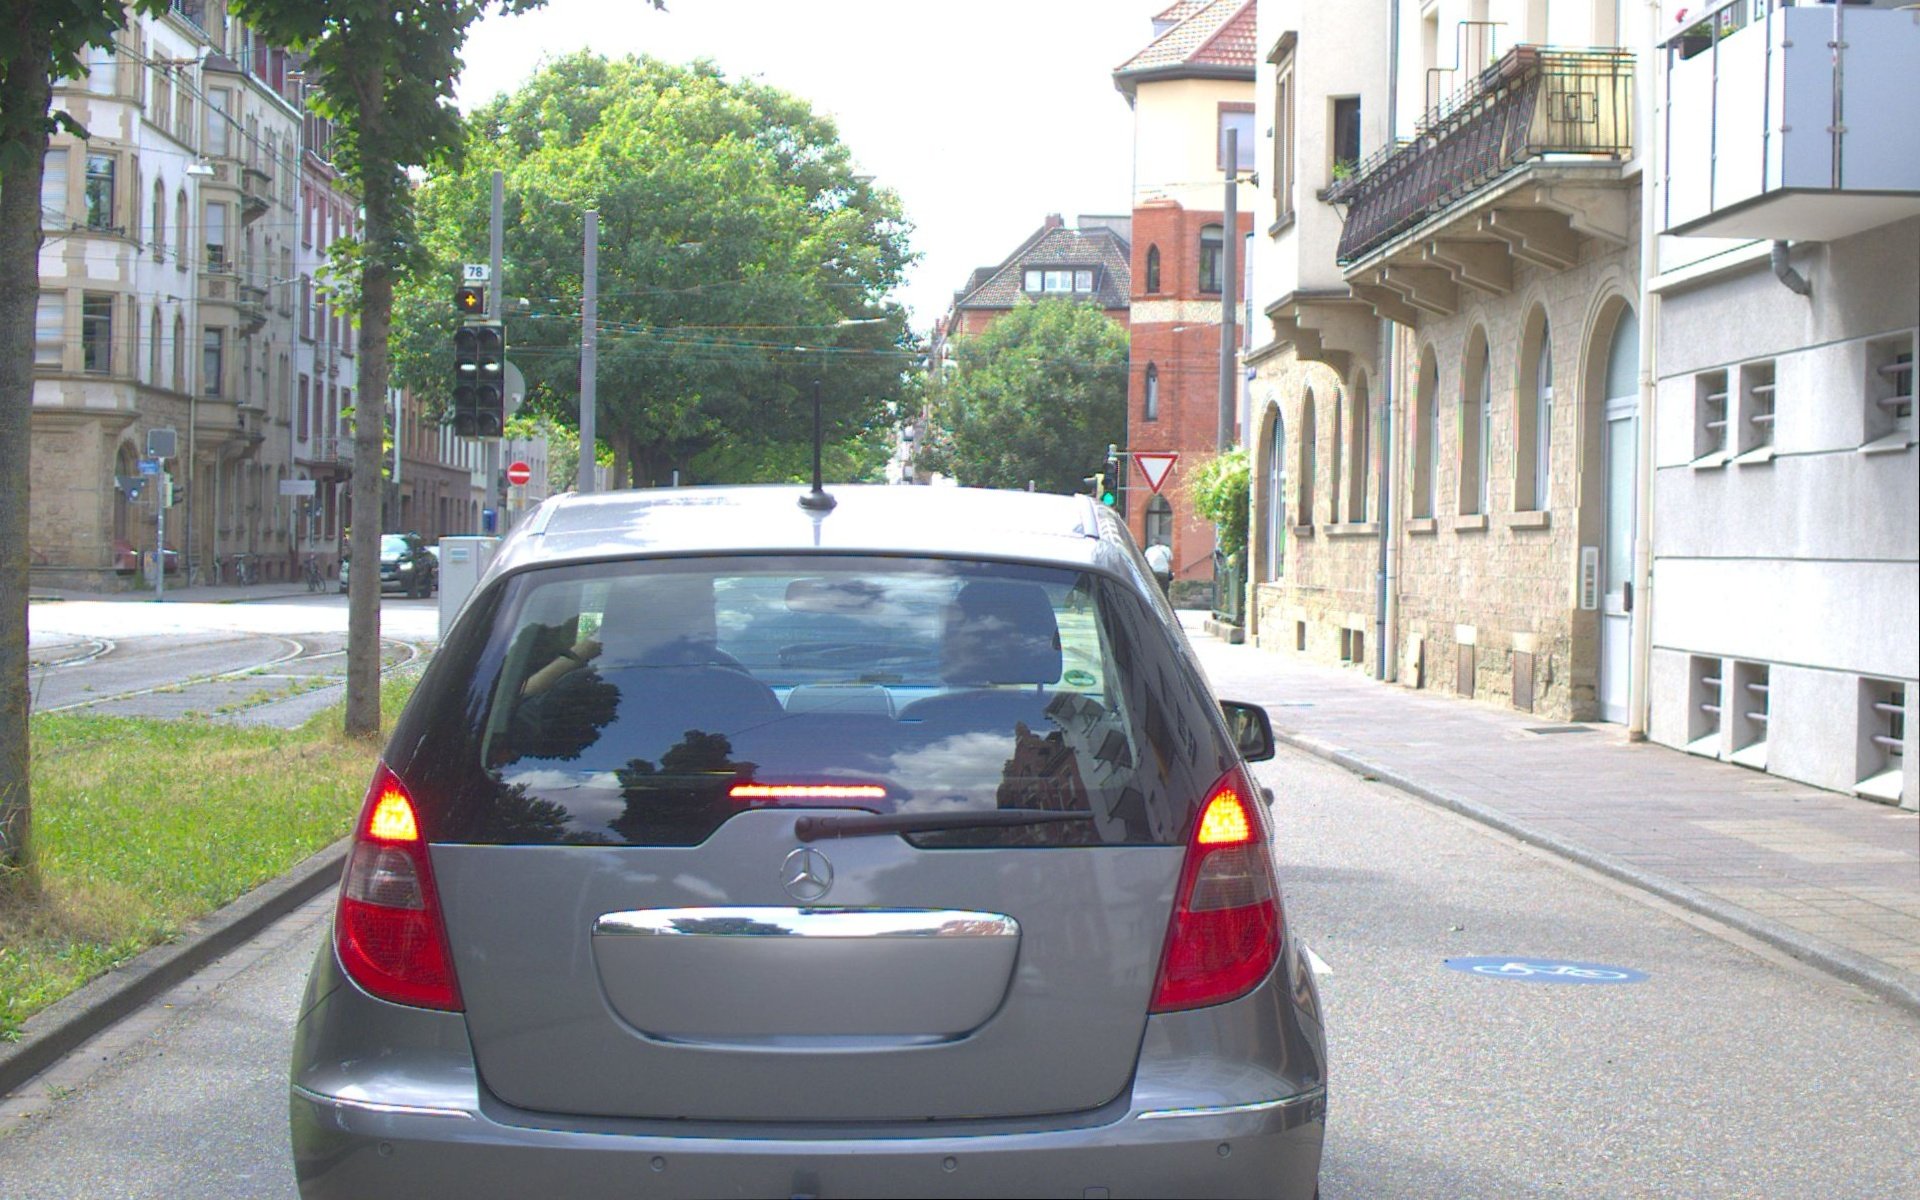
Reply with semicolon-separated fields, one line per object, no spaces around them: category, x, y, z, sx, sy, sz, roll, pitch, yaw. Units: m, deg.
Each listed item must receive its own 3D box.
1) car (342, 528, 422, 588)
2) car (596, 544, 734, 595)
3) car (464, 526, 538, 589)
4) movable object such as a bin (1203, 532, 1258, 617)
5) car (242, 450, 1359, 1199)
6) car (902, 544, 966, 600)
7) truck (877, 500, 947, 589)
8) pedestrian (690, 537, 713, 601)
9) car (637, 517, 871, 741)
car;-16.070;-1.170;95.697;1.993;1.612;4.001;0;1;-7
car;-8.472;-0.877;98.590;1.969;1.334;3.999;1;1;-40
car;-12.947;-1.197;97.236;1.993;1.722;4.001;0;1;-7
movable object such as a bin;4.691;-0.443;59.611;0.714;1.467;0.983;0;1;-10
car;-0.269;0.551;7.179;1.722;1.600;3.677;1;1;-1
car;-0.774;-0.866;103.985;1.752;1.627;3.499;1;1;2
truck;-1.611;-1.882;116.938;2.123;2.960;4.000;1;1;2
pedestrian;-6.943;-0.832;92.258;0.493;1.719;0.654;1;1;-12
car;-1.622;0.196;28.126;1.722;1.700;3.677;1;1;-1
